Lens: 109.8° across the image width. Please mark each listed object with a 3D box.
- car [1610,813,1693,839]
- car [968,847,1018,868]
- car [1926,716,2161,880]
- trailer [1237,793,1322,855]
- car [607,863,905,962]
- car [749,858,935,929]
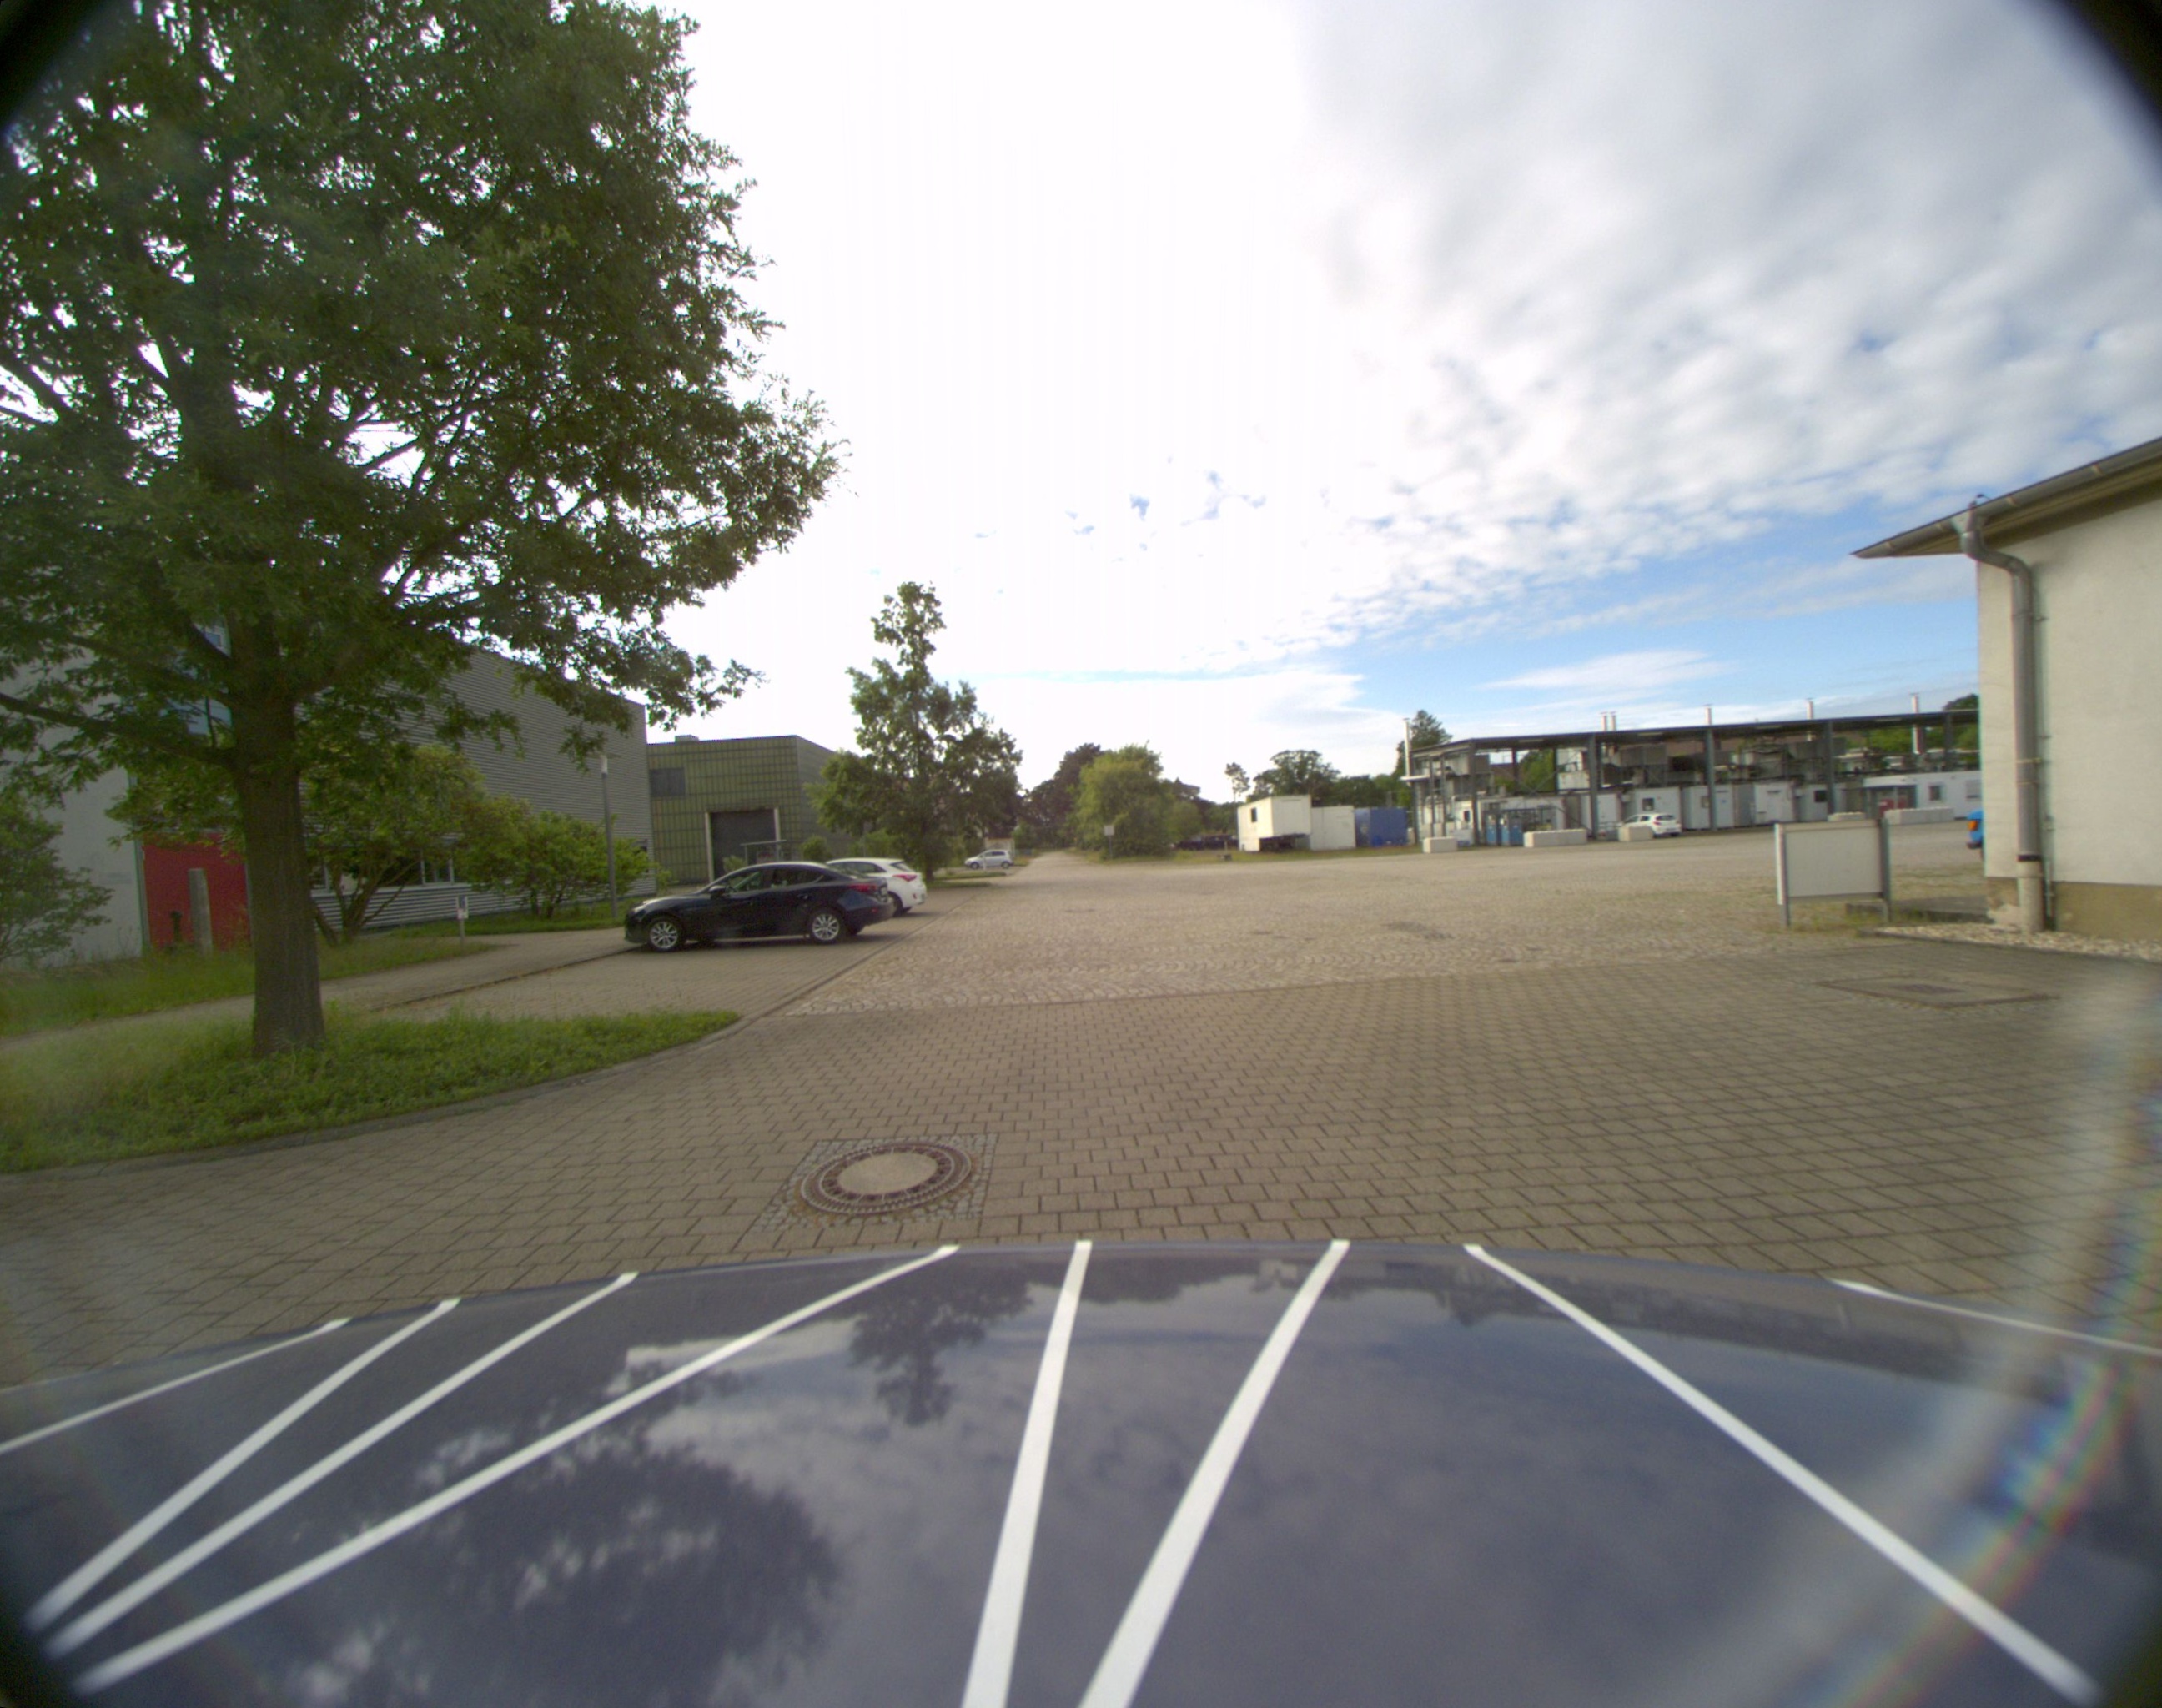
[{"bbox_3d":[34.763,-1.678,46.435,1.933,1.464,3.997,-2,1,-4],"label":"car"},{"bbox_3d":[-7.486,0.255,65.029,4.133,1.615,1.938,-2,1,-4],"label":"car"},{"bbox_3d":[17.982,-0.926,12.549,1.998,2.567,5.398,-3,0,1],"label":"car"},{"bbox_3d":[13.255,-1.882,51.968,2.876,3.641,10.775,-3,1,0],"label":"trailer"},{"bbox_3d":[-5.634,0.987,13.672,4.476,1.439,1.944,-2,1,-2],"label":"car"},{"bbox_3d":[-5.823,0.941,18.899,3.986,1.458,1.882,-3,1,-2],"label":"car"}]
